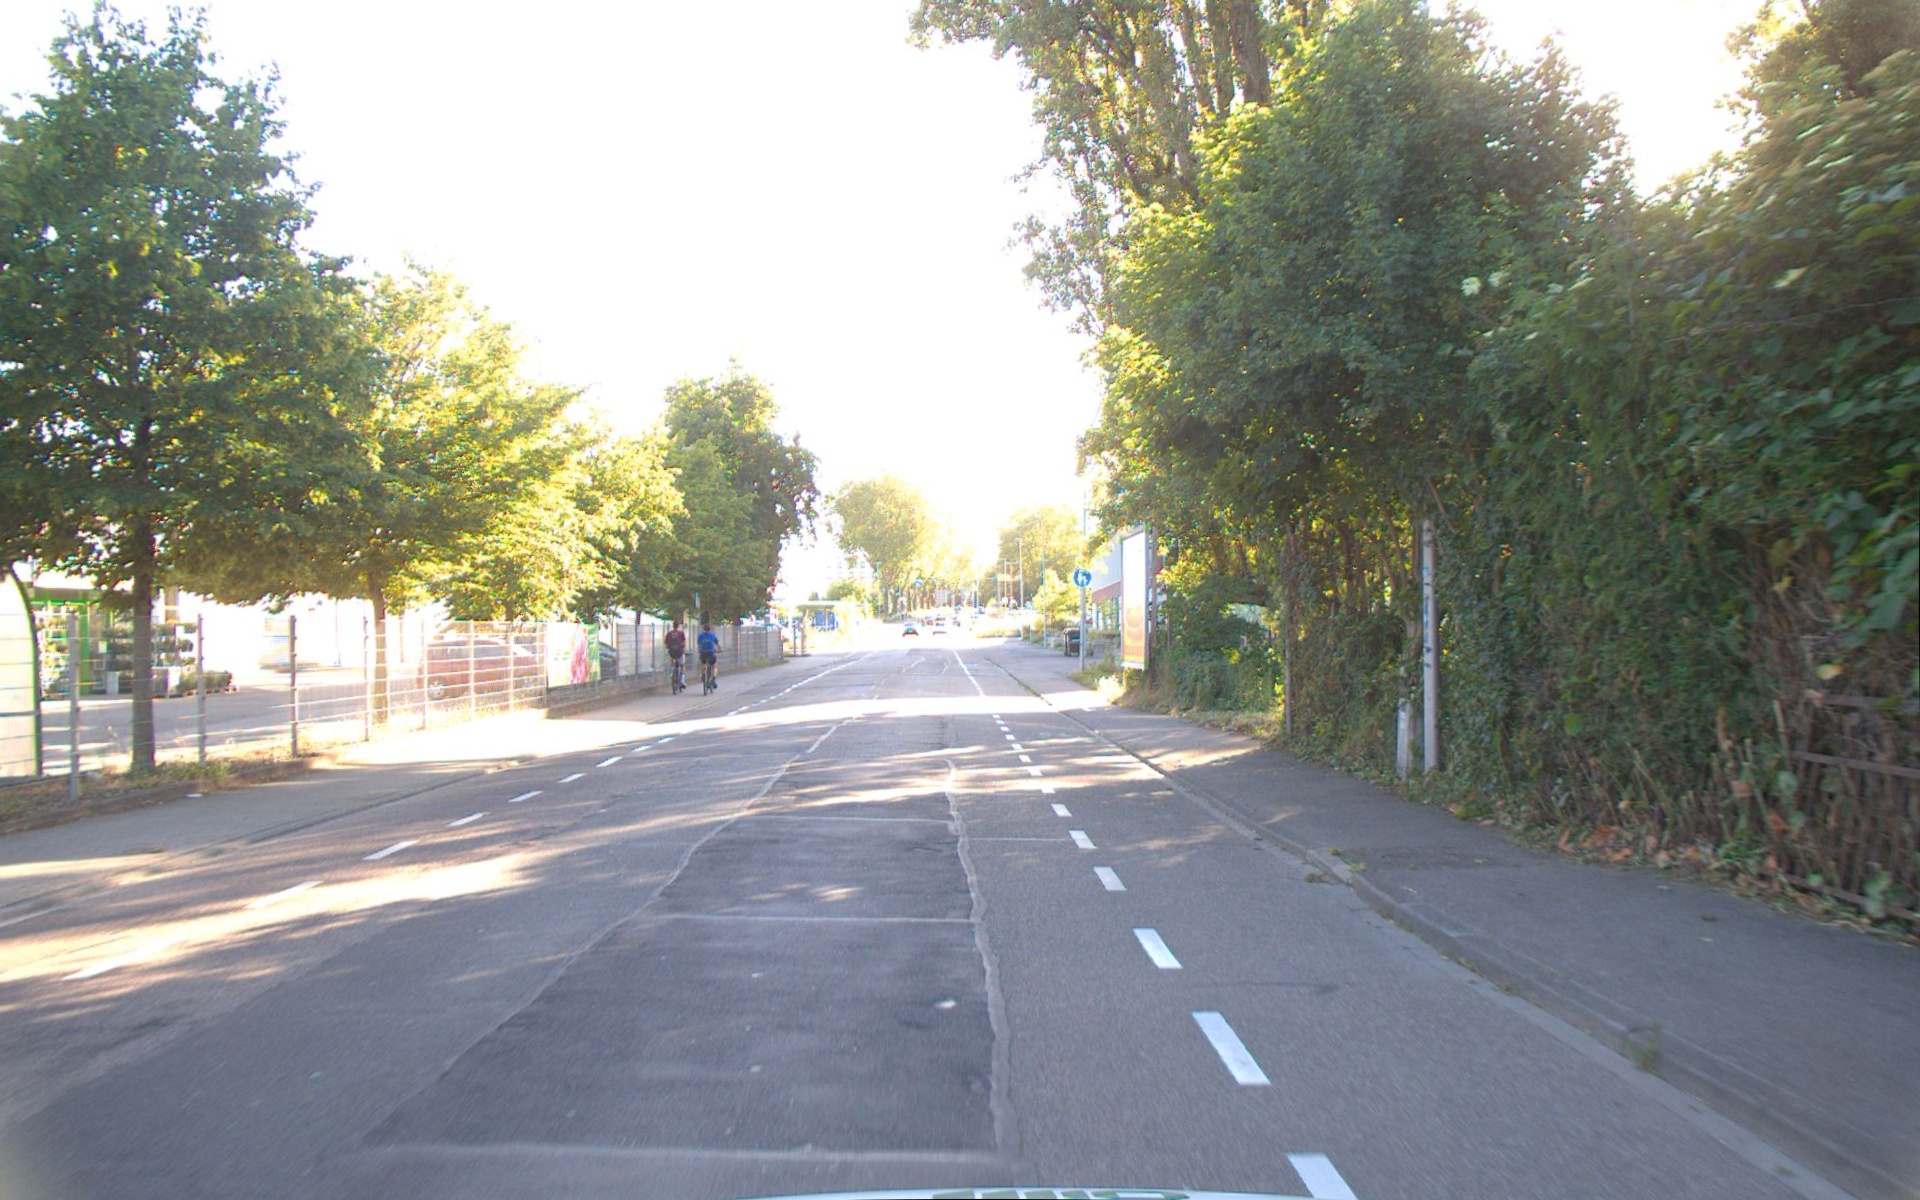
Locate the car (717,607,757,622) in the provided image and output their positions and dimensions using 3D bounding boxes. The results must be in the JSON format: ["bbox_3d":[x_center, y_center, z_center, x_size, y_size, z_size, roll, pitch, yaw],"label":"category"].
[{"bbox_3d":[-26.940,1.790,199.928,4.484,1.771,2.059,-1,0,3],"label":"car"}]

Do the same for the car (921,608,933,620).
[{"bbox_3d":[-4.636,1.946,232.123,1.620,1.529,3.999,-2,-1,0],"label":"car"}]

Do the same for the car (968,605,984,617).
[{"bbox_3d":[2.159,1.501,228.250,2.120,1.713,3.999,-1,0,-1],"label":"car"}]

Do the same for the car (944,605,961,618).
[{"bbox_3d":[-0.986,1.530,223.057,2.119,1.713,4.000,-1,0,1],"label":"car"}]

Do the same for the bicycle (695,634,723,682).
[{"bbox_3d":[-6.578,1.507,43.406,0.437,1.168,2.200,1,0,-1],"label":"bicycle"}]

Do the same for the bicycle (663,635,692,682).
[{"bbox_3d":[-7.401,1.518,43.330,0.460,1.168,1.869,1,0,-1],"label":"bicycle"}]

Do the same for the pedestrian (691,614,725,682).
[{"bbox_3d":[-6.605,1.242,43.338,0.706,1.751,1.057,-1,0,-1],"label":"pedestrian"}]

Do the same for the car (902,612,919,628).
[{"bbox_3d":[-5.311,2.162,176.483,1.706,1.552,4.110,-4,0,-1],"label":"car"}]

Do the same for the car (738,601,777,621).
[{"bbox_3d":[-27.095,1.488,221.175,4.993,2.503,2.319,-1,0,-2],"label":"car"}]

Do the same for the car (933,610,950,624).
[{"bbox_3d":[-2.065,1.875,182.182,1.753,1.445,4.000,0,0,1],"label":"car"}]

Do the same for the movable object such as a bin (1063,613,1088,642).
[{"bbox_3d":[5.760,1.377,82.527,1.105,1.396,1.345,-1,0,-2],"label":"movable object such as a bin"}]

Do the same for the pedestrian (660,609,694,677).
[{"bbox_3d":[-7.423,1.115,43.430,0.706,1.751,1.057,-1,0,-1],"label":"pedestrian"}]

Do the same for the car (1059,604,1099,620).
[{"bbox_3d":[12.356,1.255,172.537,4.097,1.608,1.852,-1,0,3],"label":"car"}]

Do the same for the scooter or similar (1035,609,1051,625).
[{"bbox_3d":[6.864,1.418,136.848,1.312,1.267,0.424,-1,0,3],"label":"scooter or similar"}]

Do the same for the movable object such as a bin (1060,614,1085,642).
[{"bbox_3d":[5.732,1.429,84.199,1.105,1.359,1.345,-1,0,-2],"label":"movable object such as a bin"}]

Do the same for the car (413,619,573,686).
[{"bbox_3d":[-12.204,1.357,43.389,3.652,1.476,1.805,-4,0,-3],"label":"car"}]
